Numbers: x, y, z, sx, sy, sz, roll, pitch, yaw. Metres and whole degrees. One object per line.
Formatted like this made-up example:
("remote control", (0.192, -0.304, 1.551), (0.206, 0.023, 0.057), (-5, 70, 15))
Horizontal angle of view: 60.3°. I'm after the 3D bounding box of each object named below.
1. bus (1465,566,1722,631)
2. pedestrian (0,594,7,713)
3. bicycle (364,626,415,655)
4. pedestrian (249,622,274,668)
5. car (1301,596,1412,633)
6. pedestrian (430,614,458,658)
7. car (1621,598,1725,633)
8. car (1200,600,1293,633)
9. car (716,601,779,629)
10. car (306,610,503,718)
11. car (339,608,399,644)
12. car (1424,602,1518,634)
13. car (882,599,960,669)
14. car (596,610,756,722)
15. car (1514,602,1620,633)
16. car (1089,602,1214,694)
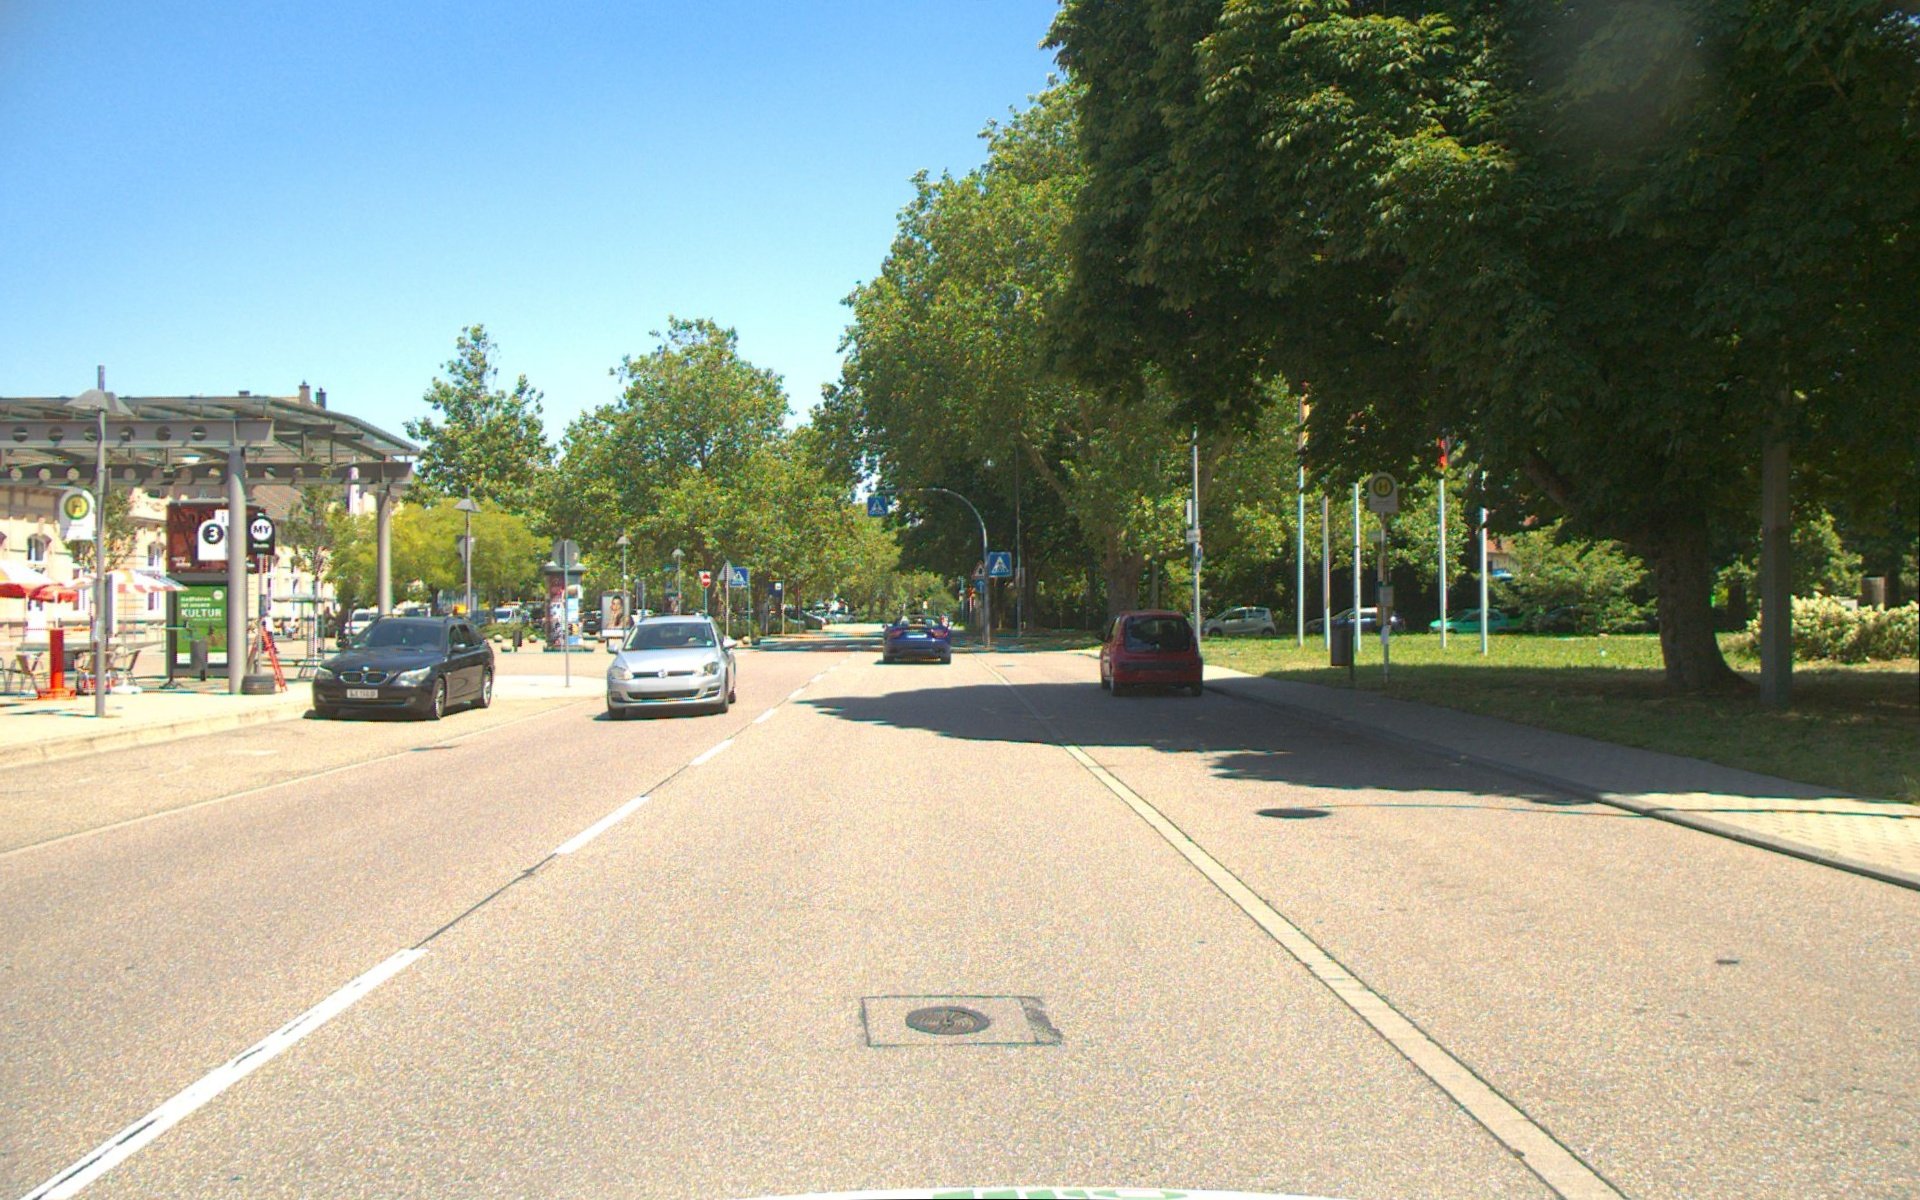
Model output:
("bus", (31.801, -0.064, 83.232), (12.128, 3.030, 2.267), (-1, -1, -2))
("pedestrian", (-15.515, 0.839, 25.556), (0.782, 1.860, 1.143), (-1, -2, 15))
("bicycle", (-21.220, 1.510, 61.537), (1.770, 1.049, 0.485), (0, -1, -26))
("pedestrian", (-26.036, 1.671, 61.655), (0.620, 1.703, 0.653), (-3, -3, 42))
("car", (18.459, 0.670, 77.144), (4.723, 1.636, 2.001), (-1, 0, 2))
("pedestrian", (-20.149, 1.401, 64.580), (0.744, 1.688, 0.721), (-1, -2, 15))
("car", (33.382, 0.732, 77.562), (4.013, 1.637, 2.000), (0, -2, 0))
("car", (13.379, 0.775, 77.476), (4.020, 1.492, 2.000), (-1, 0, 2))
("car", (-14.316, 1.015, 111.519), (3.928, 1.813, 1.988), (0, -1, -20))
("car", (-8.616, 0.933, 26.085), (1.684, 1.504, 4.783), (-1, 0, -3))
("car", (-32.919, 1.429, 92.226), (1.716, 1.951, 4.773), (-1, 0, -2))
("car", (23.926, 0.854, 77.503), (3.801, 1.479, 2.000), (0, -2, 0))
("car", (-1.133, 0.929, 46.078), (2.082, 1.881, 4.045), (0, -1, -3))
("car", (-4.300, 0.952, 25.607), (1.778, 1.469, 4.157), (-2, 0, -1))
("car", (28.452, 0.840, 77.594), (4.249, 1.441, 1.999), (0, -2, -1))
("car", (3.366, 0.818, 29.681), (1.684, 1.504, 3.704), (-1, -1, -2))
